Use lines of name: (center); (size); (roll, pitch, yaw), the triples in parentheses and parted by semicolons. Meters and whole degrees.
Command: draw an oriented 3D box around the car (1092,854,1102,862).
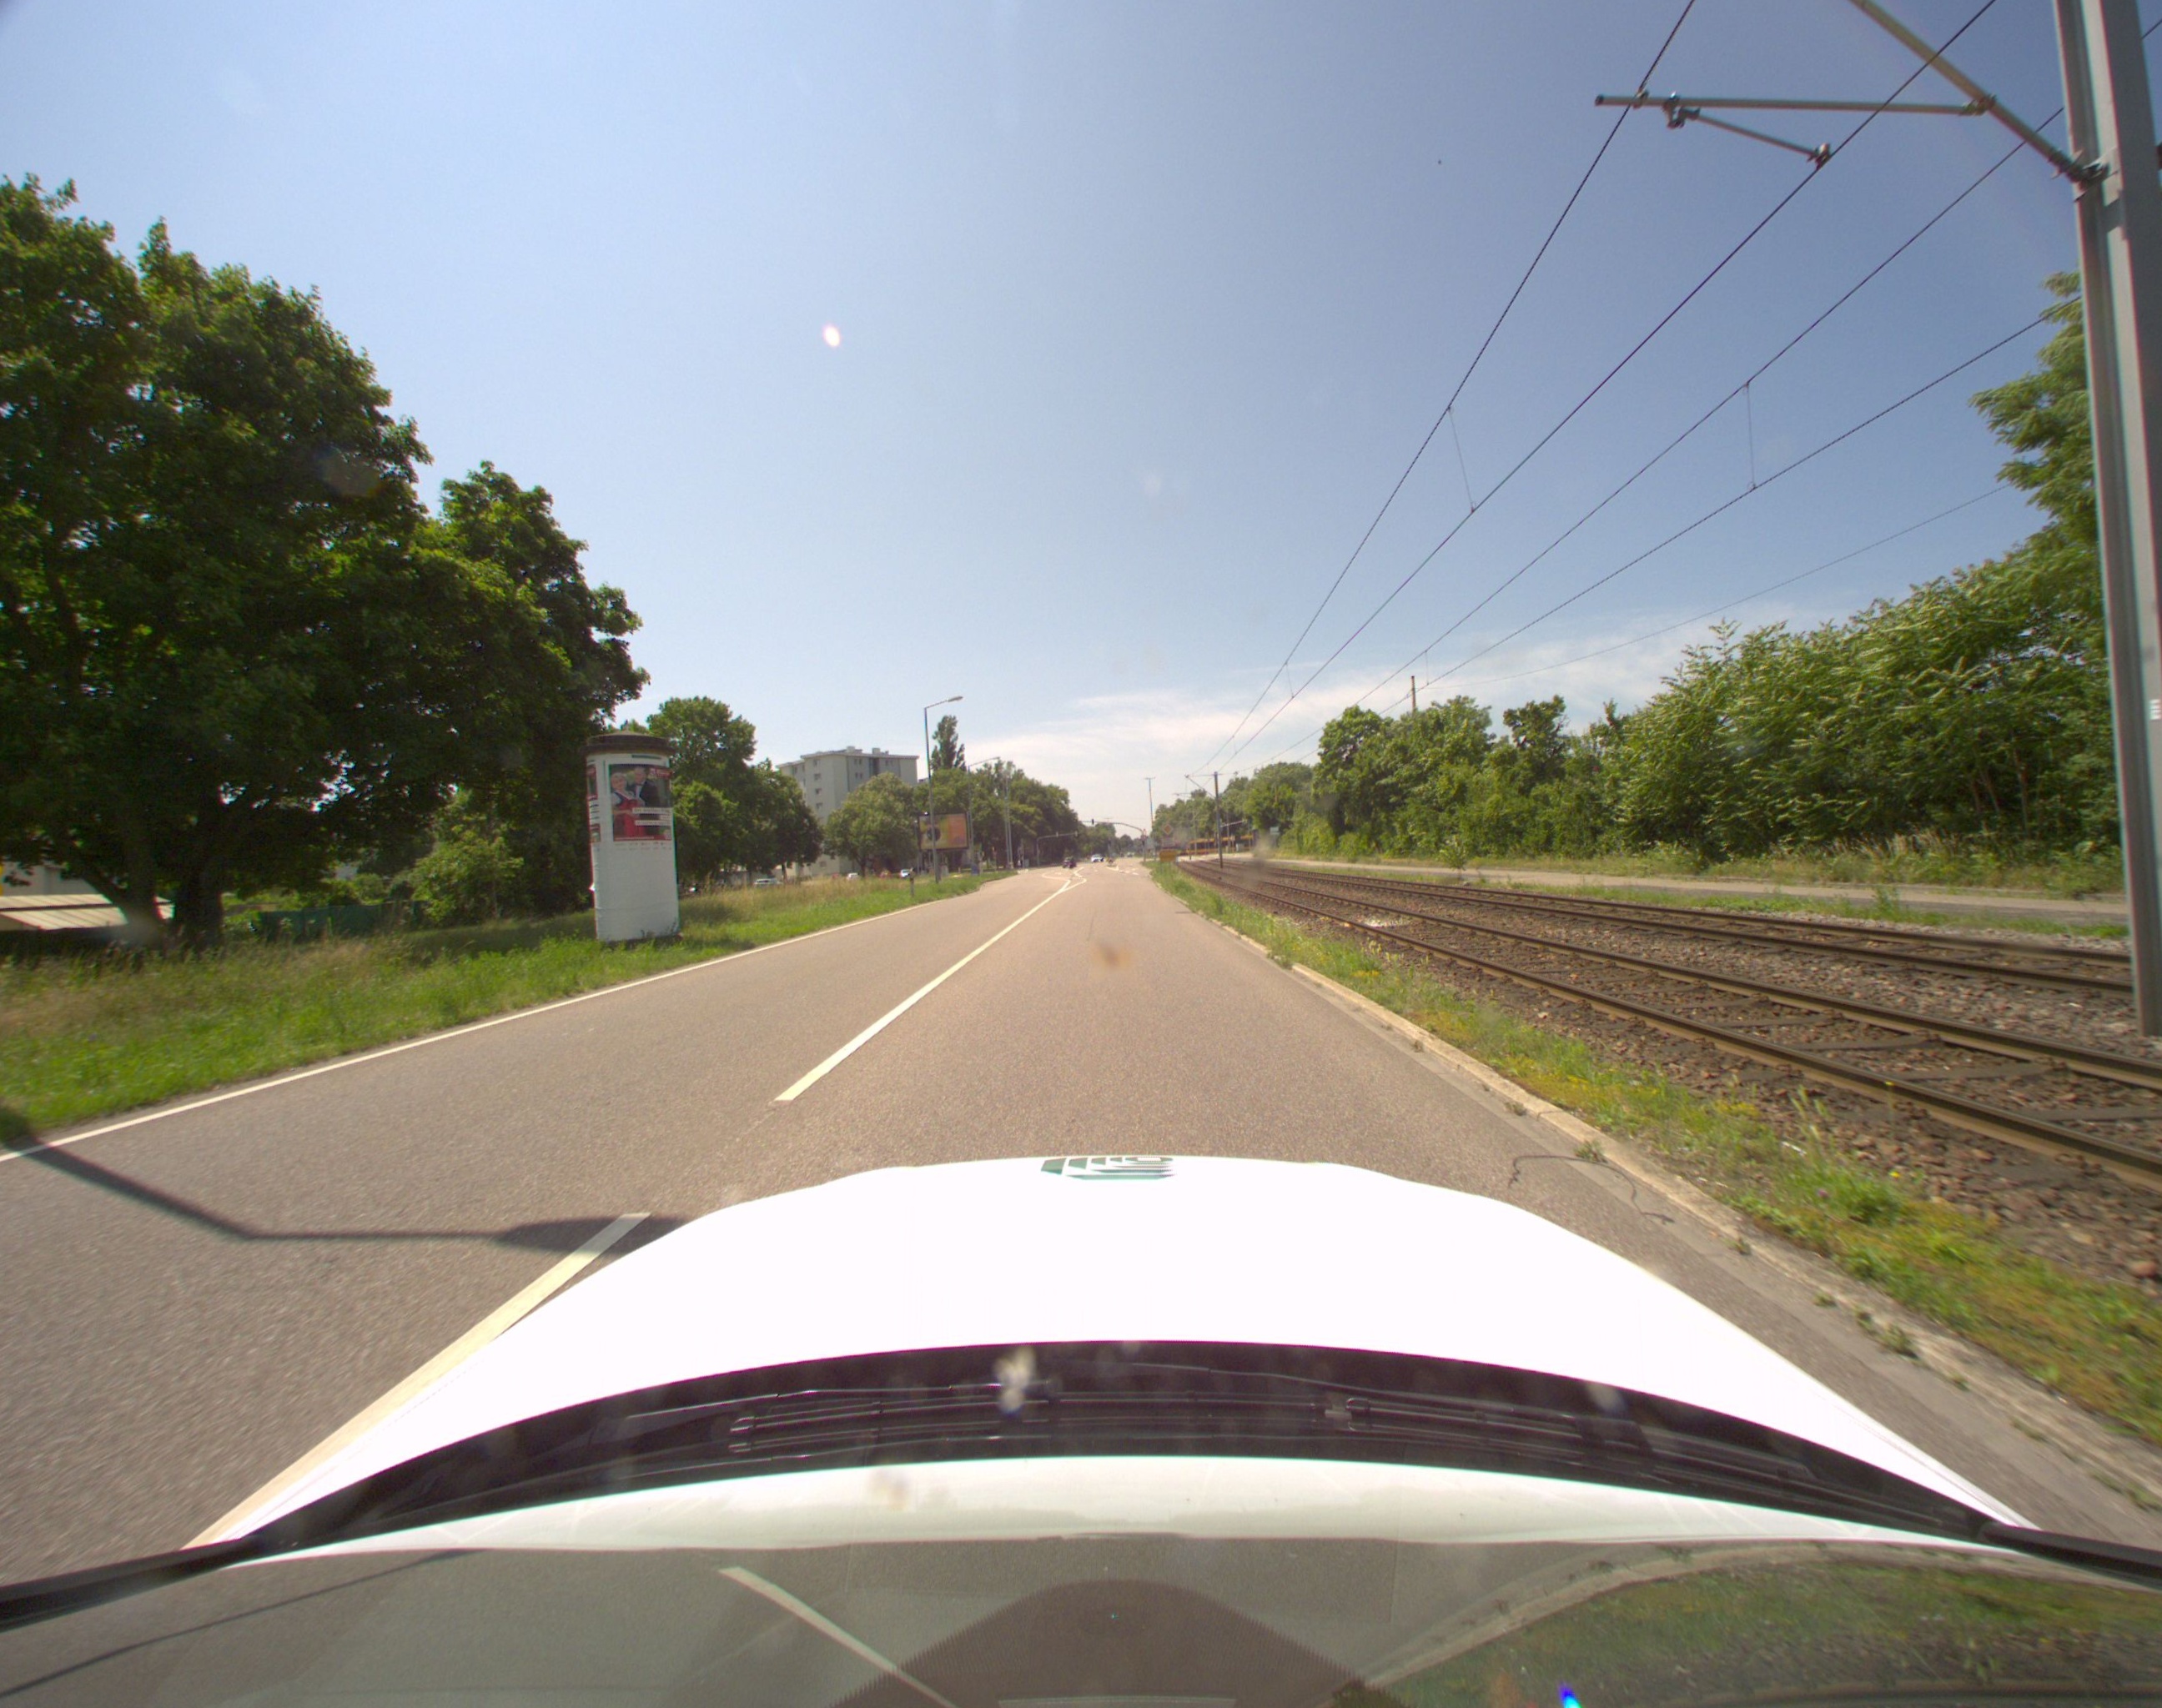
car: (3.053, 0.789, 158.415); (1.777, 1.628, 3.868); (-1, 0, 3)

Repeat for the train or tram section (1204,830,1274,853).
train or tram section: (33.205, -2.581, 171.389); (13.872, 3.919, 2.939); (-4, -3, 23)

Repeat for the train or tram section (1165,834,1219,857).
train or tram section: (24.134, -1.788, 177.881); (2.937, 3.812, 13.302); (0, -4, -37)

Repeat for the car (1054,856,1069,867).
car: (-2.716, 1.027, 112.867); (1.902, 1.499, 4.626); (-3, 0, -2)

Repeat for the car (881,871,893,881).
car: (-29.795, 3.352, 125.158); (1.620, 1.464, 3.982); (-3, 0, -13)

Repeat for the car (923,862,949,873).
car: (-26.981, 2.536, 151.784); (1.769, 1.768, 4.577); (-4, 0, 43)

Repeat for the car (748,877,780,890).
car: (-42.761, 4.007, 109.974); (3.901, 1.468, 1.762); (-4, 0, -22)

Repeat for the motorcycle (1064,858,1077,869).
motorcycle: (-1.222, 1.096, 97.759); (0.840, 1.255, 2.459); (-3, 0, 16)

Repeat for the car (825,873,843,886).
car: (-37.345, 3.866, 123.112); (1.857, 1.668, 3.964); (-4, -1, -27)

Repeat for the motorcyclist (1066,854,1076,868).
motorcyclist: (-1.189, 0.810, 97.959); (0.784, 1.643, 1.216); (-3, 0, 15)

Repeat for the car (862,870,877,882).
car: (-32.353, 3.345, 124.542); (1.710, 1.800, 3.973); (-3, 0, -20)

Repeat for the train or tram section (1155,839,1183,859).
train or tram section: (20.166, -1.125, 187.767); (2.913, 3.812, 13.032); (-2, -3, -9)

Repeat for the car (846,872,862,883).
car: (-34.583, 3.528, 123.834); (1.712, 1.592, 3.968); (-3, 0, -24)

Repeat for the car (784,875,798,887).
car: (-43.188, 4.028, 121.153); (1.852, 1.711, 3.973); (-2, 0, -20)

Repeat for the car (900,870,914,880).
car: (-27.046, 3.264, 126.690); (1.629, 1.380, 3.975); (-3, 0, -19)
